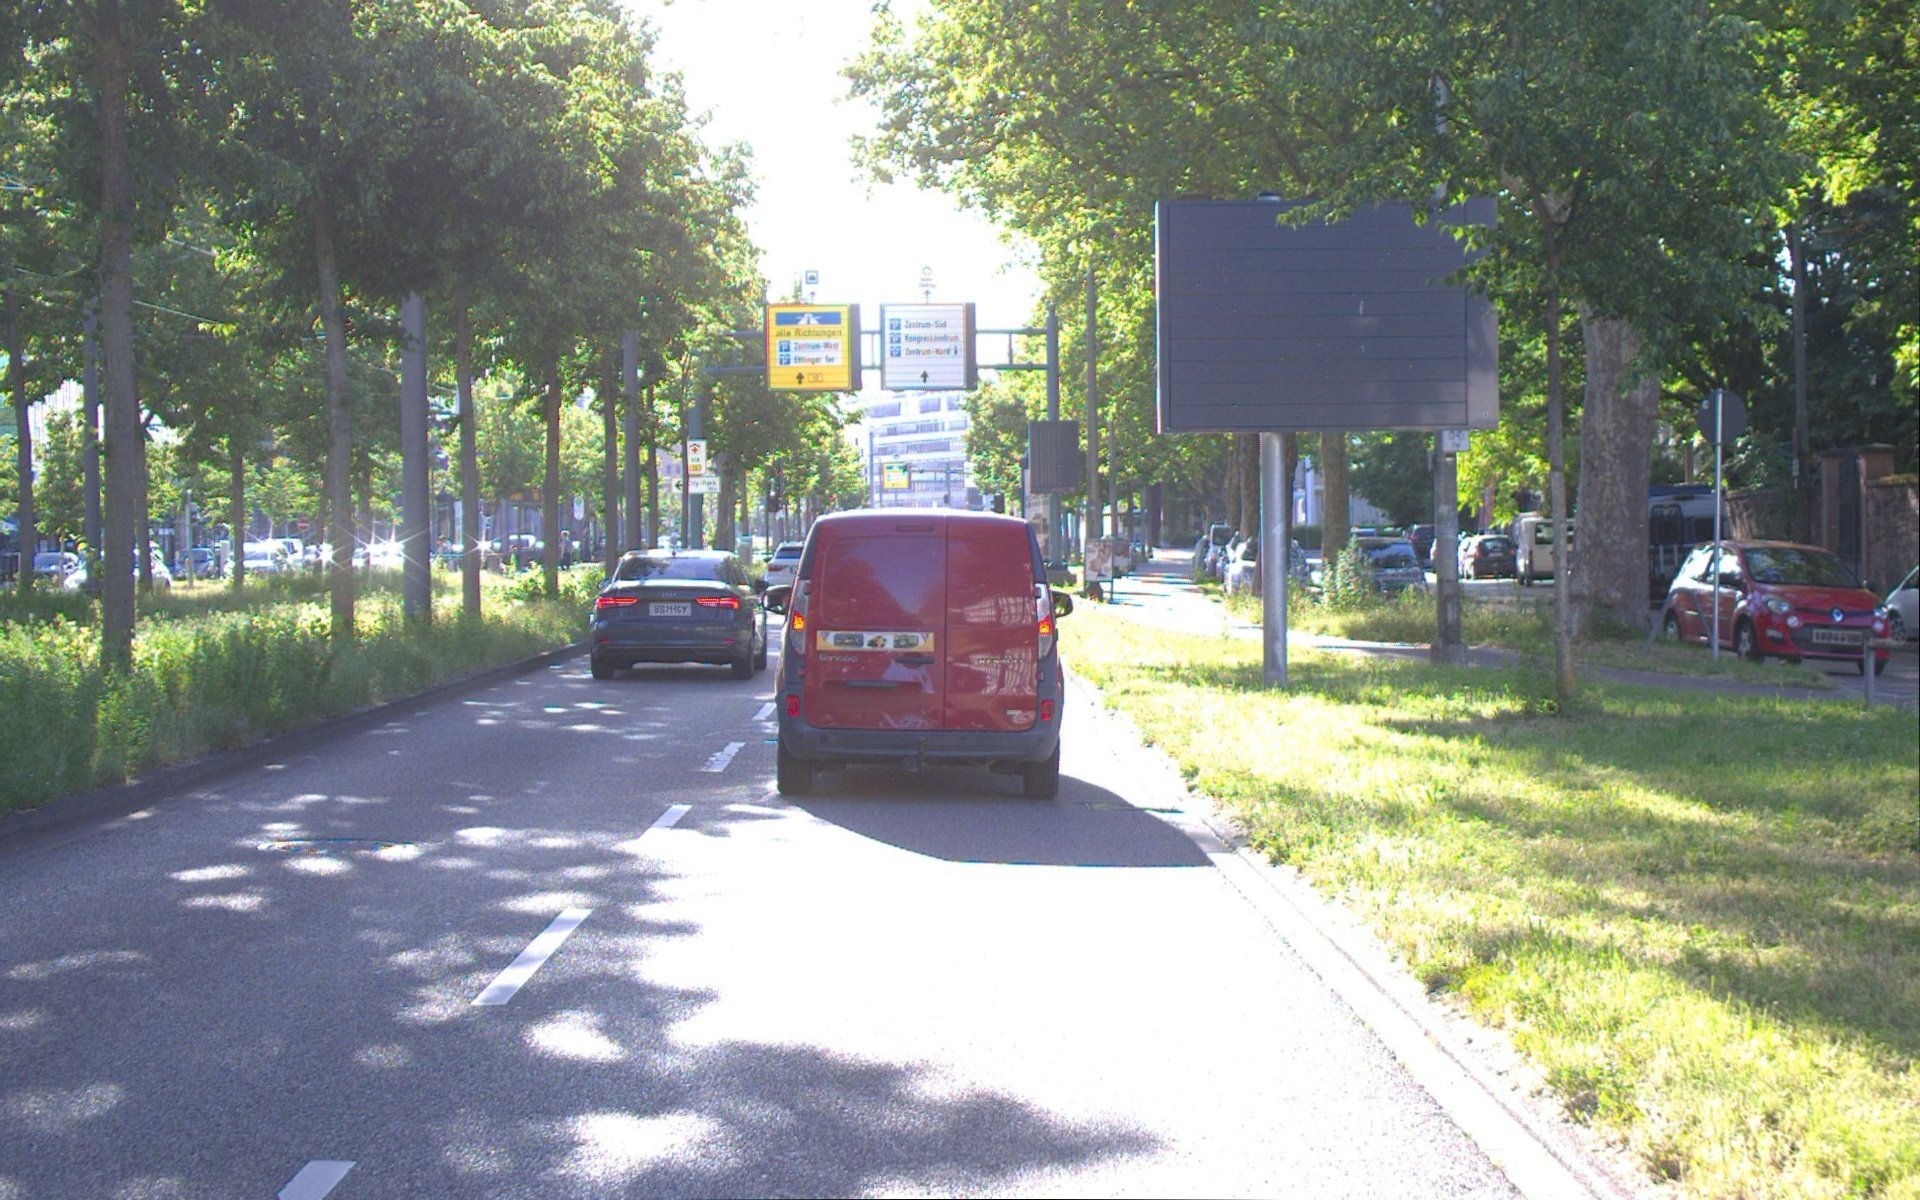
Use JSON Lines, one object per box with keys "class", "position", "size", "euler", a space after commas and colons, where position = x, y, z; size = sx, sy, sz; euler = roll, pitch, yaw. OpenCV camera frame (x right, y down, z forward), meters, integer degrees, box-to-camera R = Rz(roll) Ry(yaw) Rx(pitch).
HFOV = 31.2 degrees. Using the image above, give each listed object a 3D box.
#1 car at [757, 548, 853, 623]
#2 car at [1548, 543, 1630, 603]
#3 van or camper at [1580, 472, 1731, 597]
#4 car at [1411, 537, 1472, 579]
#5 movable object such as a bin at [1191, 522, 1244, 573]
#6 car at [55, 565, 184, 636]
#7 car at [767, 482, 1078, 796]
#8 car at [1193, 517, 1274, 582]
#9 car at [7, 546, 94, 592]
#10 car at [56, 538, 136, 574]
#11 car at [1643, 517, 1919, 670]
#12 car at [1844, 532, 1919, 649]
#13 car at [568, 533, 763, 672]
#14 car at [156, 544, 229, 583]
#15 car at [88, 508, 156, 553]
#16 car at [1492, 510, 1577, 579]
{"class": "car", "position": [-3.511, -0.336, 78.619], "size": [1.993, 1.612, 4.000], "euler": [1, 0, 0]}
{"class": "car", "position": [16.337, -0.719, 89.420], "size": [1.690, 1.467, 3.757], "euler": [-2, 1, 5]}
{"class": "van or camper", "position": [16.087, -1.536, 79.835], "size": [2.557, 2.675, 6.564], "euler": [-2, 1, 4]}
{"class": "car", "position": [19.950, -1.734, 142.644], "size": [1.993, 1.634, 4.000], "euler": [1, 0, 1]}
{"class": "movable object such as a bin", "position": [10.432, -2.125, 139.642], "size": [2.081, 2.007, 2.136], "euler": [1, 0, 4]}
{"class": "car", "position": [-20.974, -0.008, 85.953], "size": [1.993, 1.680, 5.111], "euler": [1, 0, -1]}
{"class": "car", "position": [-0.331, 0.218, 22.484], "size": [1.808, 1.831, 4.001], "euler": [1, 0, -3]}
{"class": "car", "position": [8.781, -1.605, 110.761], "size": [2.190, 2.007, 5.820], "euler": [1, 0, 1]}
{"class": "car", "position": [-33.217, -1.133, 125.717], "size": [1.879, 1.615, 4.611], "euler": [1, 0, 1]}
{"class": "car", "position": [-33.780, -1.712, 134.484], "size": [1.912, 1.321, 4.611], "euler": [1, 0, 1]}
{"class": "car", "position": [9.452, -0.094, 39.697], "size": [1.993, 1.634, 4.001], "euler": [1, 0, -5]}
{"class": "car", "position": [14.612, -0.170, 49.896], "size": [1.839, 1.612, 4.001], "euler": [-4, 2, -11]}
{"class": "car", "position": [-3.202, 0.008, 38.040], "size": [1.792, 1.423, 4.000], "euler": [1, 0, 0]}
{"class": "car", "position": [-32.885, -1.558, 147.446], "size": [1.993, 1.603, 4.611], "euler": [1, 0, 1]}
{"class": "car", "position": [-39.487, -3.250, 162.030], "size": [1.993, 2.007, 4.563], "euler": [2, 0, 1]}
{"class": "car", "position": [17.152, -1.641, 102.830], "size": [2.087, 2.007, 4.942], "euler": [0, 1, 4]}
